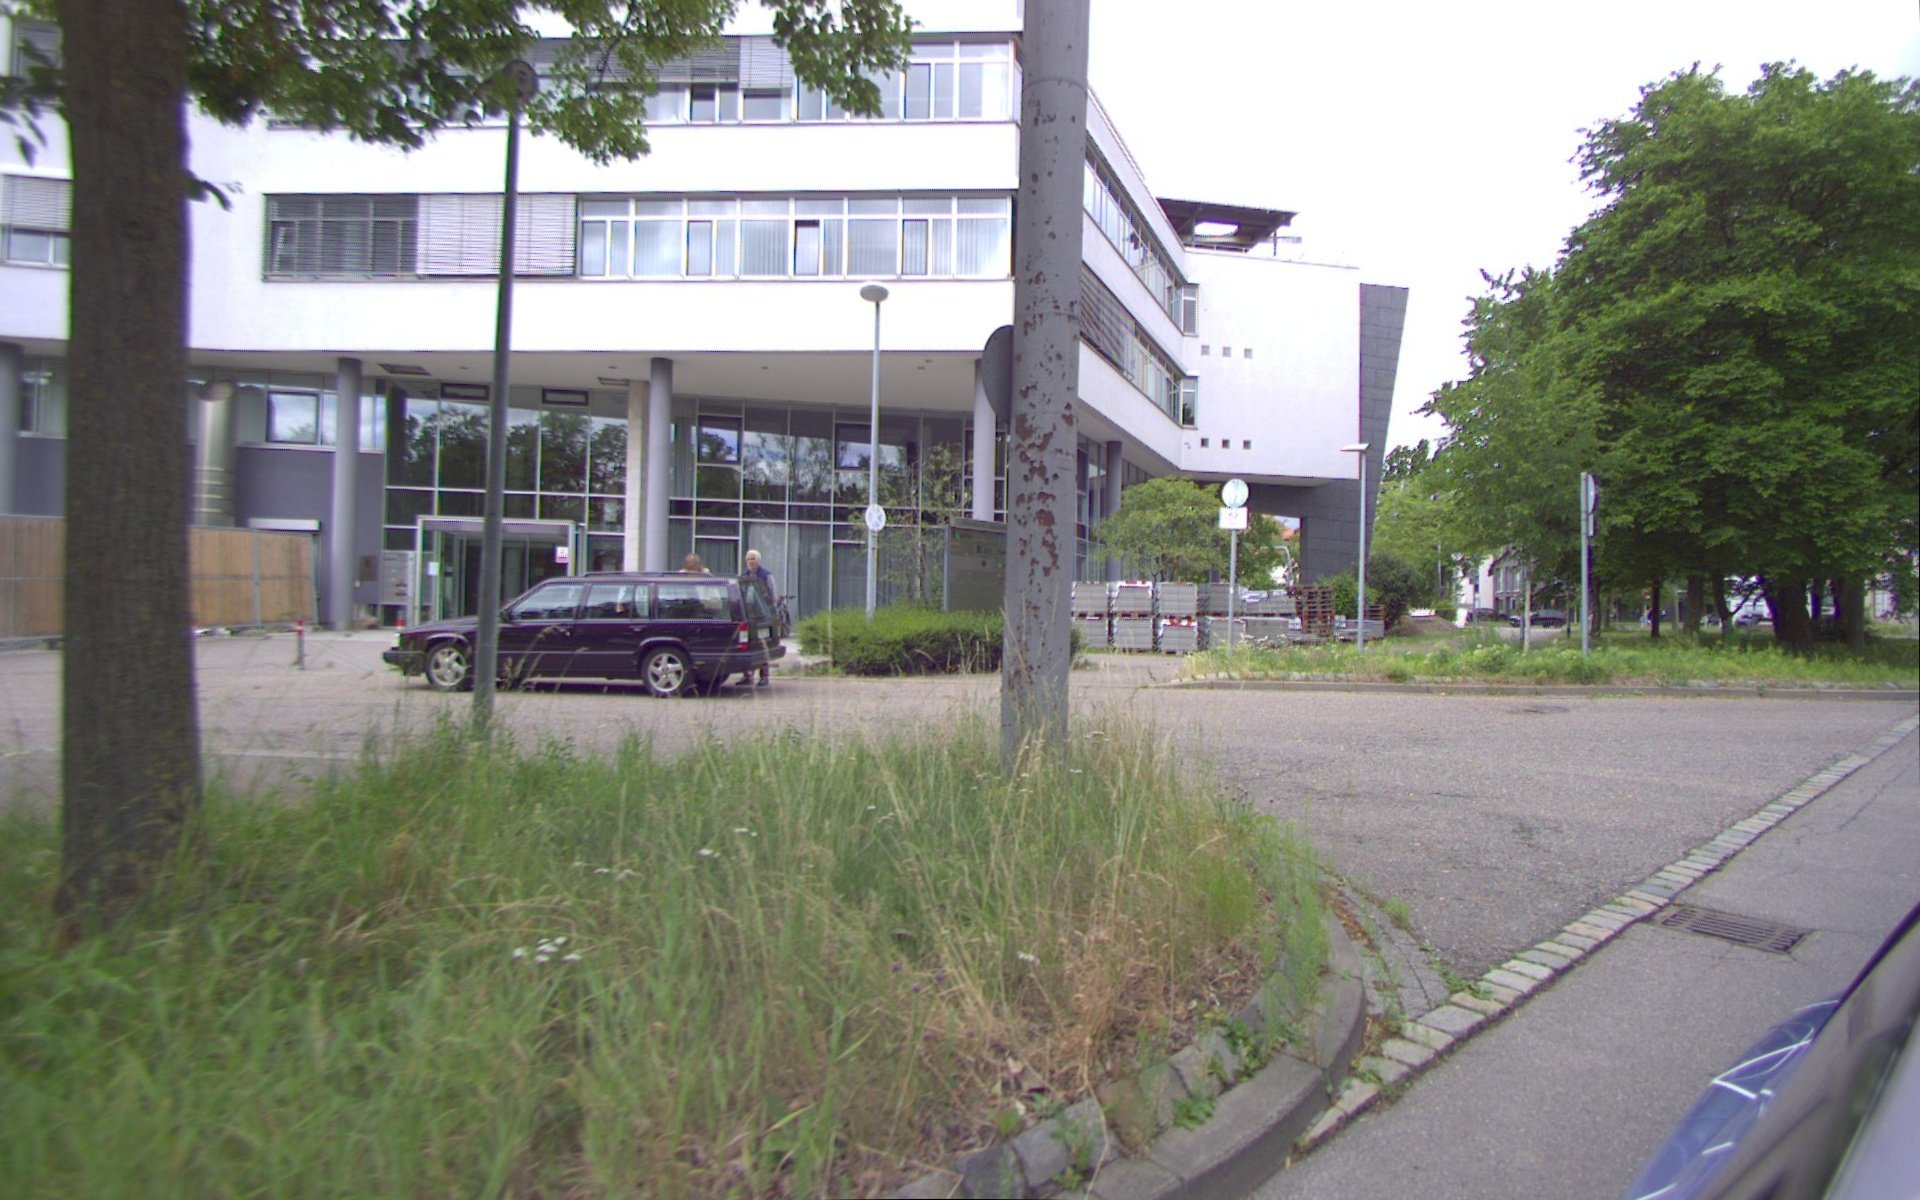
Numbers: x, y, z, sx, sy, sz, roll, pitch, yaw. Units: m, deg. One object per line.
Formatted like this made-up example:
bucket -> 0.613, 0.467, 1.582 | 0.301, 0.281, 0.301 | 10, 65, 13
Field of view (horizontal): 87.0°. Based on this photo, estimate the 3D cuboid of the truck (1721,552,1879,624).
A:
truck -> 39.864, -0.563, 48.335 | 2.393, 3.235, 6.461 | 0, 0, 3

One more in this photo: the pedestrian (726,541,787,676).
pedestrian -> -2.768, 0.124, 13.812 | 0.469, 1.777, 0.580 | 3, -2, 19

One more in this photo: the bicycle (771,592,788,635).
bicycle -> -4.686, 0.353, 26.215 | 0.384, 1.086, 1.403 | -1, -1, -11

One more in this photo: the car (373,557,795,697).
car -> -4.612, 0.287, 12.795 | 4.659, 1.535, 1.869 | 1, 1, 6

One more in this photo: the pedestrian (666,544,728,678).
pedestrian -> -3.561, 0.151, 13.726 | 0.492, 1.747, 0.533 | 3, -2, 19

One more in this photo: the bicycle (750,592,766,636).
bicycle -> -5.149, 0.343, 25.800 | 0.384, 1.086, 1.403 | -1, -1, -11
